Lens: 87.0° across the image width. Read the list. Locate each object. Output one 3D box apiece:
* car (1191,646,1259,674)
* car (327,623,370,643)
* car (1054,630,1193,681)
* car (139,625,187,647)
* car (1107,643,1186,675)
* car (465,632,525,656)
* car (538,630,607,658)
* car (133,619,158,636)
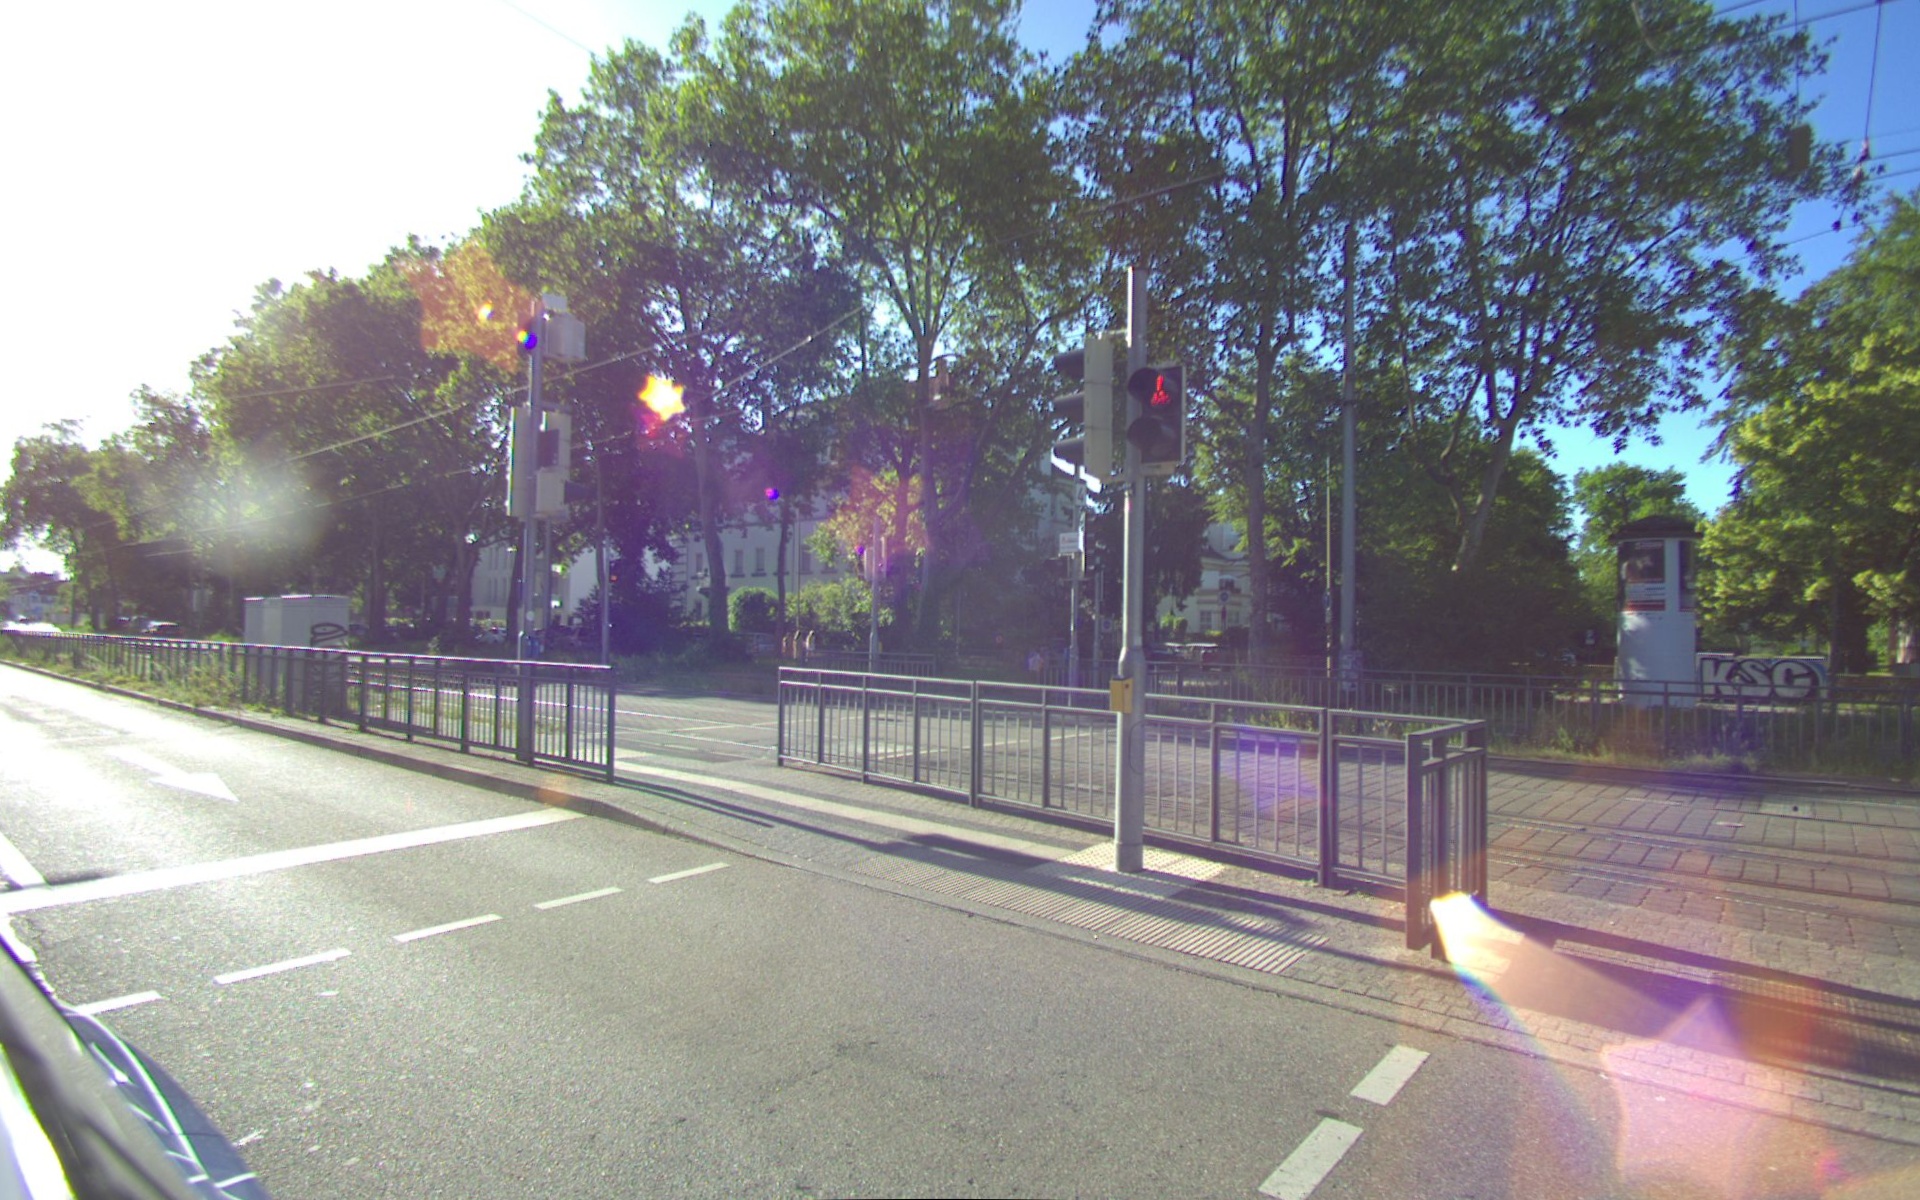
[{"bbox_3d":[14.385,3.216,54.827,1.999,1.429,3.944,-1,-2,42],"label":"car"},{"bbox_3d":[-47.375,2.535,78.428,3.999,1.484,1.778,-1,-2,42],"label":"car"},{"bbox_3d":[5.198,1.735,32.431,4.142,1.521,1.652,-1,-2,40],"label":"car"},{"bbox_3d":[-56.385,2.521,71.573,4.338,1.510,1.667,-1,-2,39],"label":"car"},{"bbox_3d":[8.983,2.794,48.606,1.999,1.429,3.944,-1,-2,42],"label":"car"},{"bbox_3d":[-28.280,2.650,61.500,4.459,1.334,1.623,-1,-4,42],"label":"car"},{"bbox_3d":[-21.214,2.380,55.302,4.317,1.451,1.717,-1,-3,42],"label":"car"},{"bbox_3d":[-99.515,3.325,123.608,1.970,2.029,4.003,-1,0,-44],"label":"car"}]
